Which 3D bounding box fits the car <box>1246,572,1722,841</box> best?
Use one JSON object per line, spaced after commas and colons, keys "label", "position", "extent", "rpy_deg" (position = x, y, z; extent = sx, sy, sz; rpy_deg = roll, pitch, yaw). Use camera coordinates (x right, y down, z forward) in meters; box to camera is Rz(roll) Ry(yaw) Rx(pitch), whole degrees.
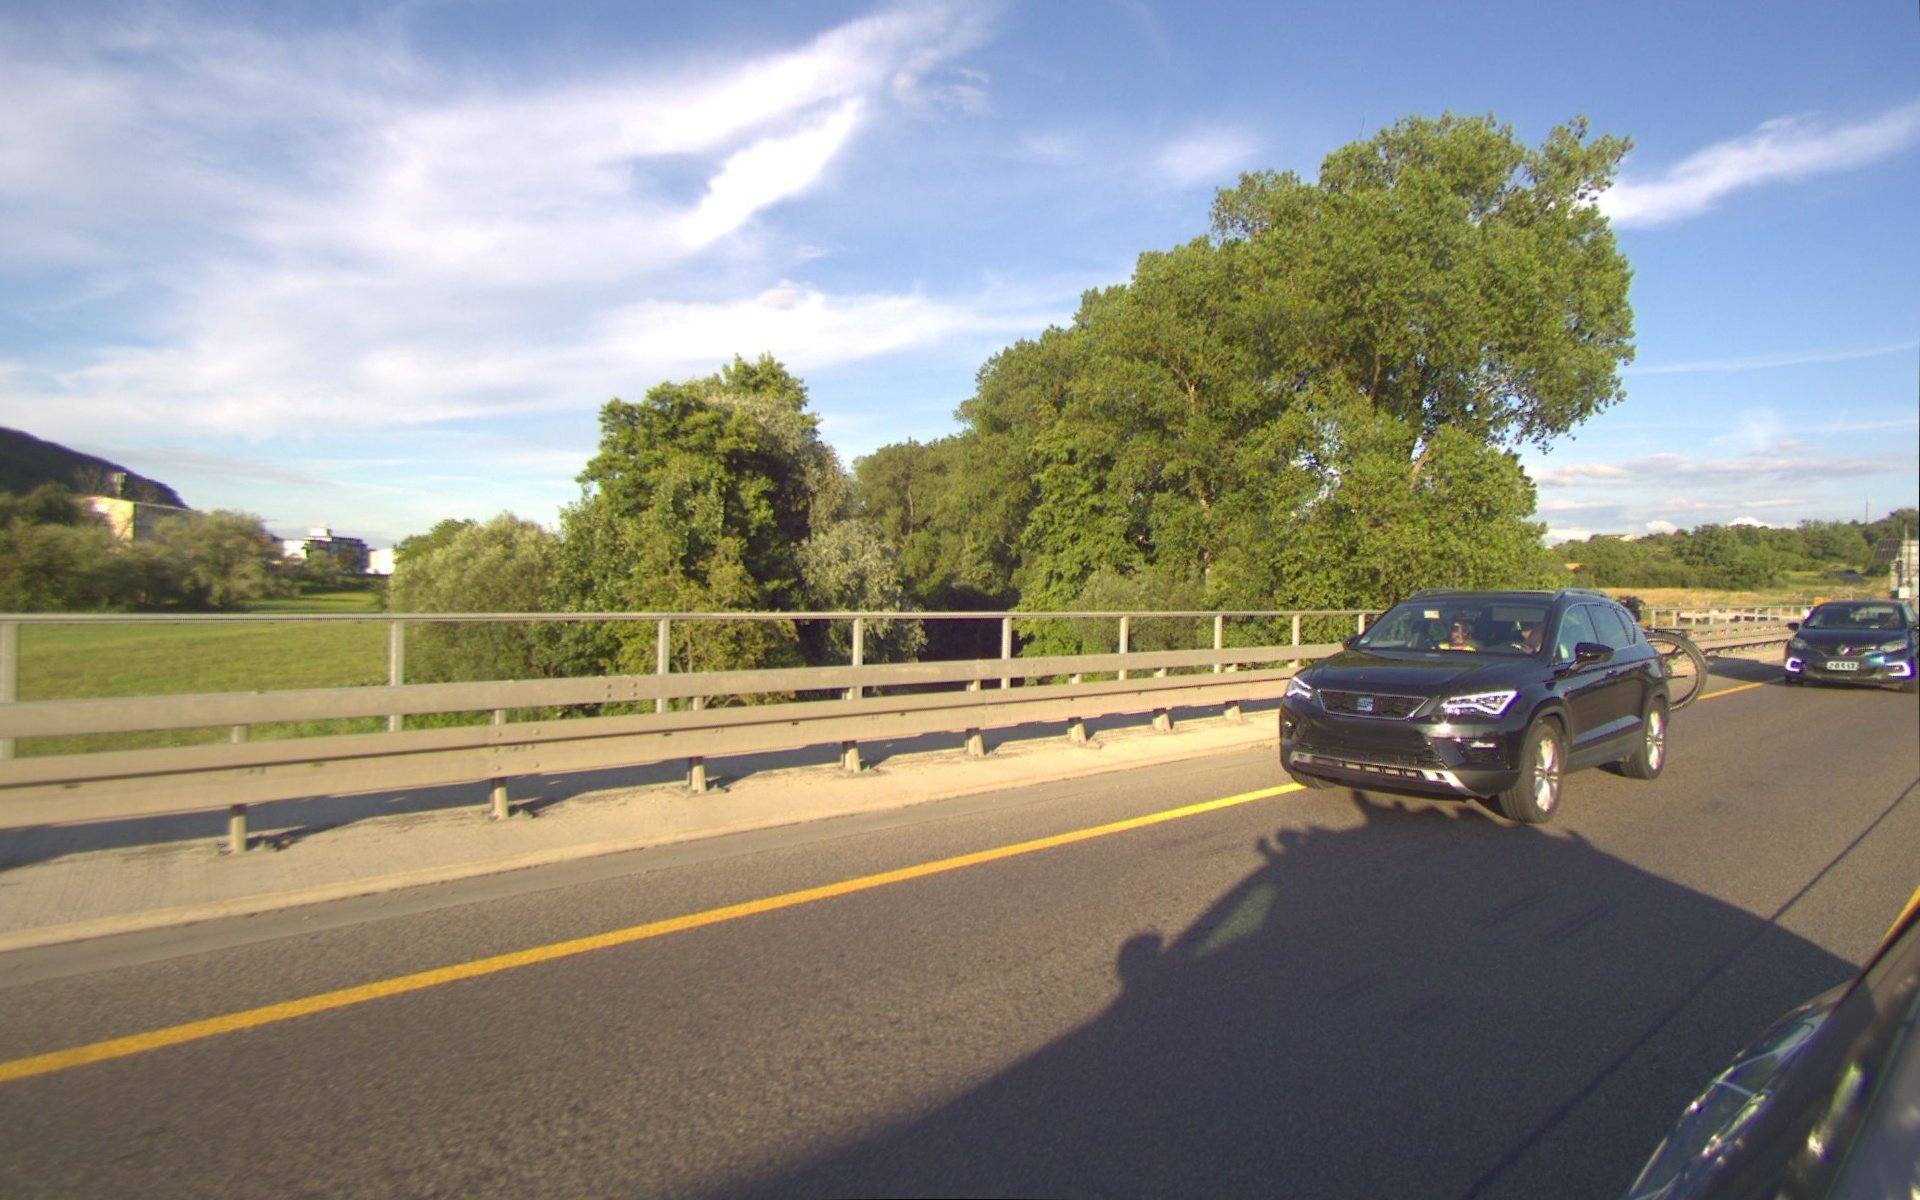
{"label": "car", "position": [4.569, 0.621, 8.418], "extent": [4.879, 1.619, 1.878], "rpy_deg": [0, 1, -41]}

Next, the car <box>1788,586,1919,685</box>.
{"label": "car", "position": [16.547, 0.596, 18.302], "extent": [4.062, 1.606, 1.777], "rpy_deg": [1, -1, -41]}
